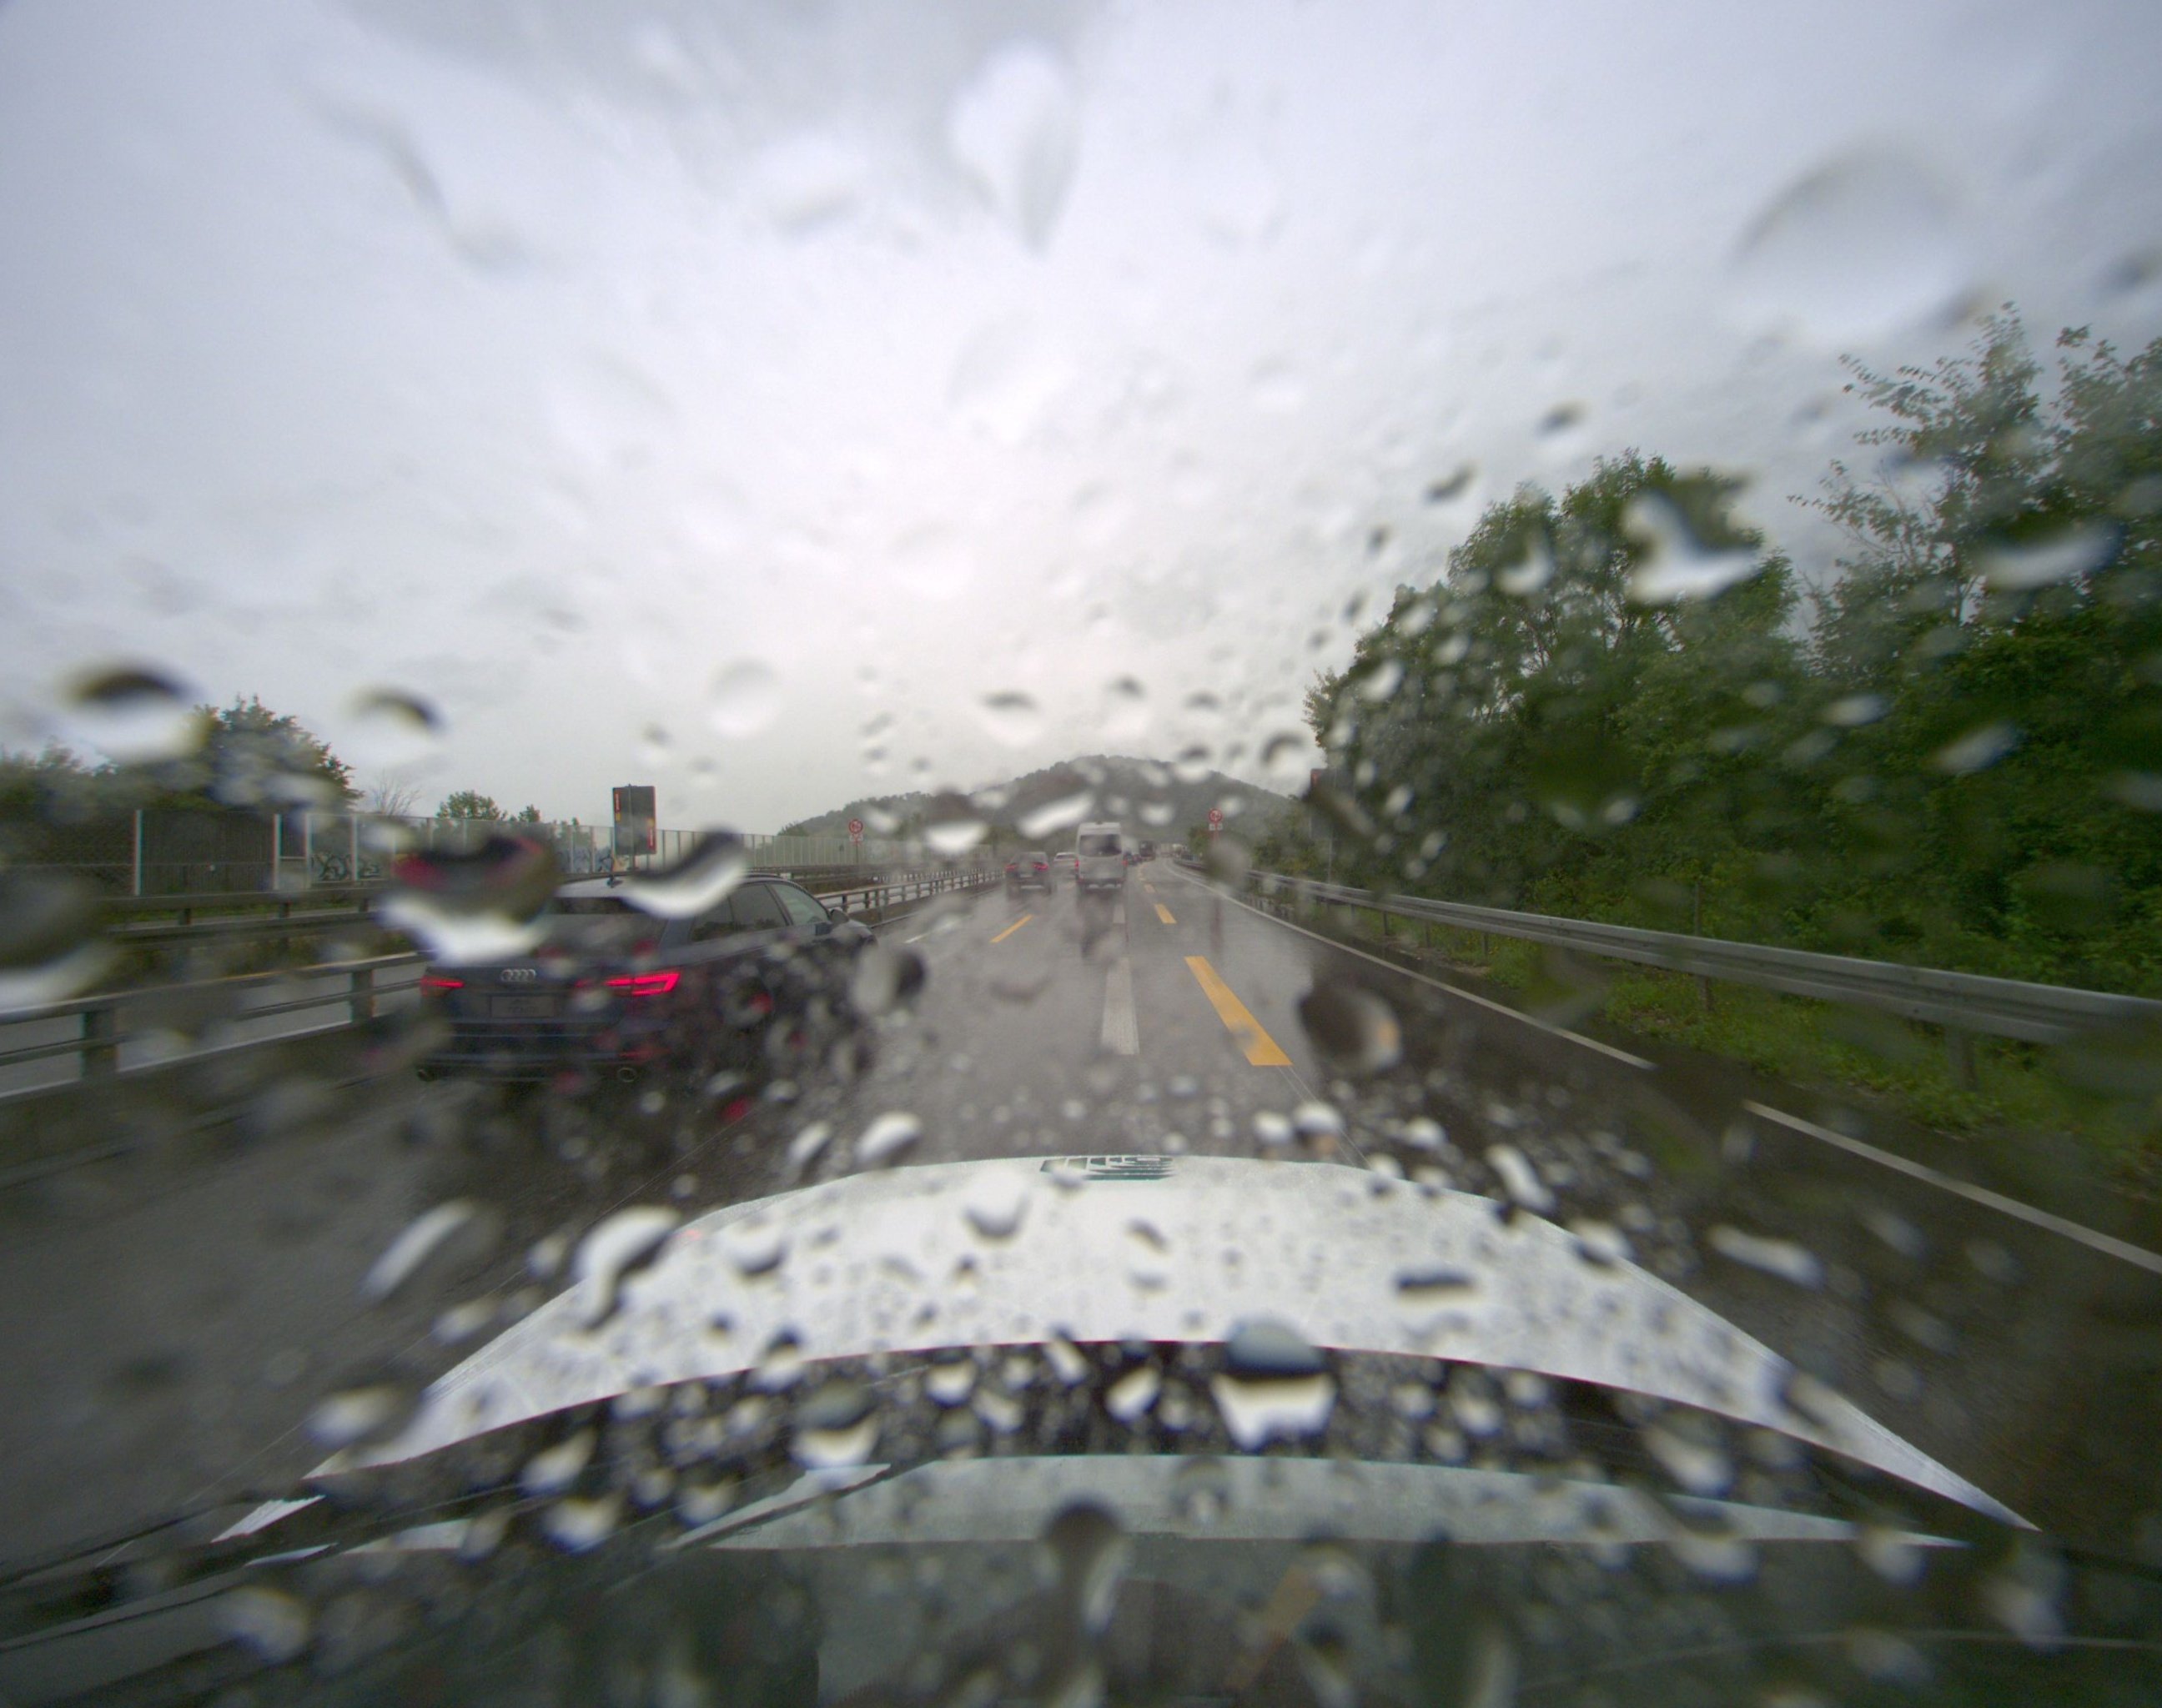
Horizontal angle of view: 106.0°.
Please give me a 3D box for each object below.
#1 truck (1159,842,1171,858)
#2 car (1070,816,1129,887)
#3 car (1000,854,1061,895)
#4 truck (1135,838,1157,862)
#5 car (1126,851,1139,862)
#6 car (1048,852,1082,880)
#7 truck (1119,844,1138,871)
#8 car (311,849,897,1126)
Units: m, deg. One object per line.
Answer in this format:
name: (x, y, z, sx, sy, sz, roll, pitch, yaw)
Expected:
truck: (24.041, -0.982, 232.207, 3.019, 4.406, 9.645, 0, -1, 8)
car: (0.794, -0.064, 32.287, 2.136, 2.571, 5.393, 0, -1, 3)
car: (-1.991, 0.806, 33.513, 1.985, 1.585, 4.417, 0, -1, 3)
truck: (12.613, -0.710, 156.799, 3.561, 4.406, 9.646, 0, -1, 8)
car: (7.305, 0.402, 115.996, 1.766, 1.475, 4.004, 0, -1, 4)
car: (-0.974, 0.710, 50.101, 1.987, 1.617, 4.795, 0, -1, 0)
truck: (5.692, 0.431, 96.674, 1.984, 3.109, 8.511, 0, -1, 5)
car: (-3.126, 0.747, 6.748, 1.986, 1.498, 4.633, 0, 0, 2)
